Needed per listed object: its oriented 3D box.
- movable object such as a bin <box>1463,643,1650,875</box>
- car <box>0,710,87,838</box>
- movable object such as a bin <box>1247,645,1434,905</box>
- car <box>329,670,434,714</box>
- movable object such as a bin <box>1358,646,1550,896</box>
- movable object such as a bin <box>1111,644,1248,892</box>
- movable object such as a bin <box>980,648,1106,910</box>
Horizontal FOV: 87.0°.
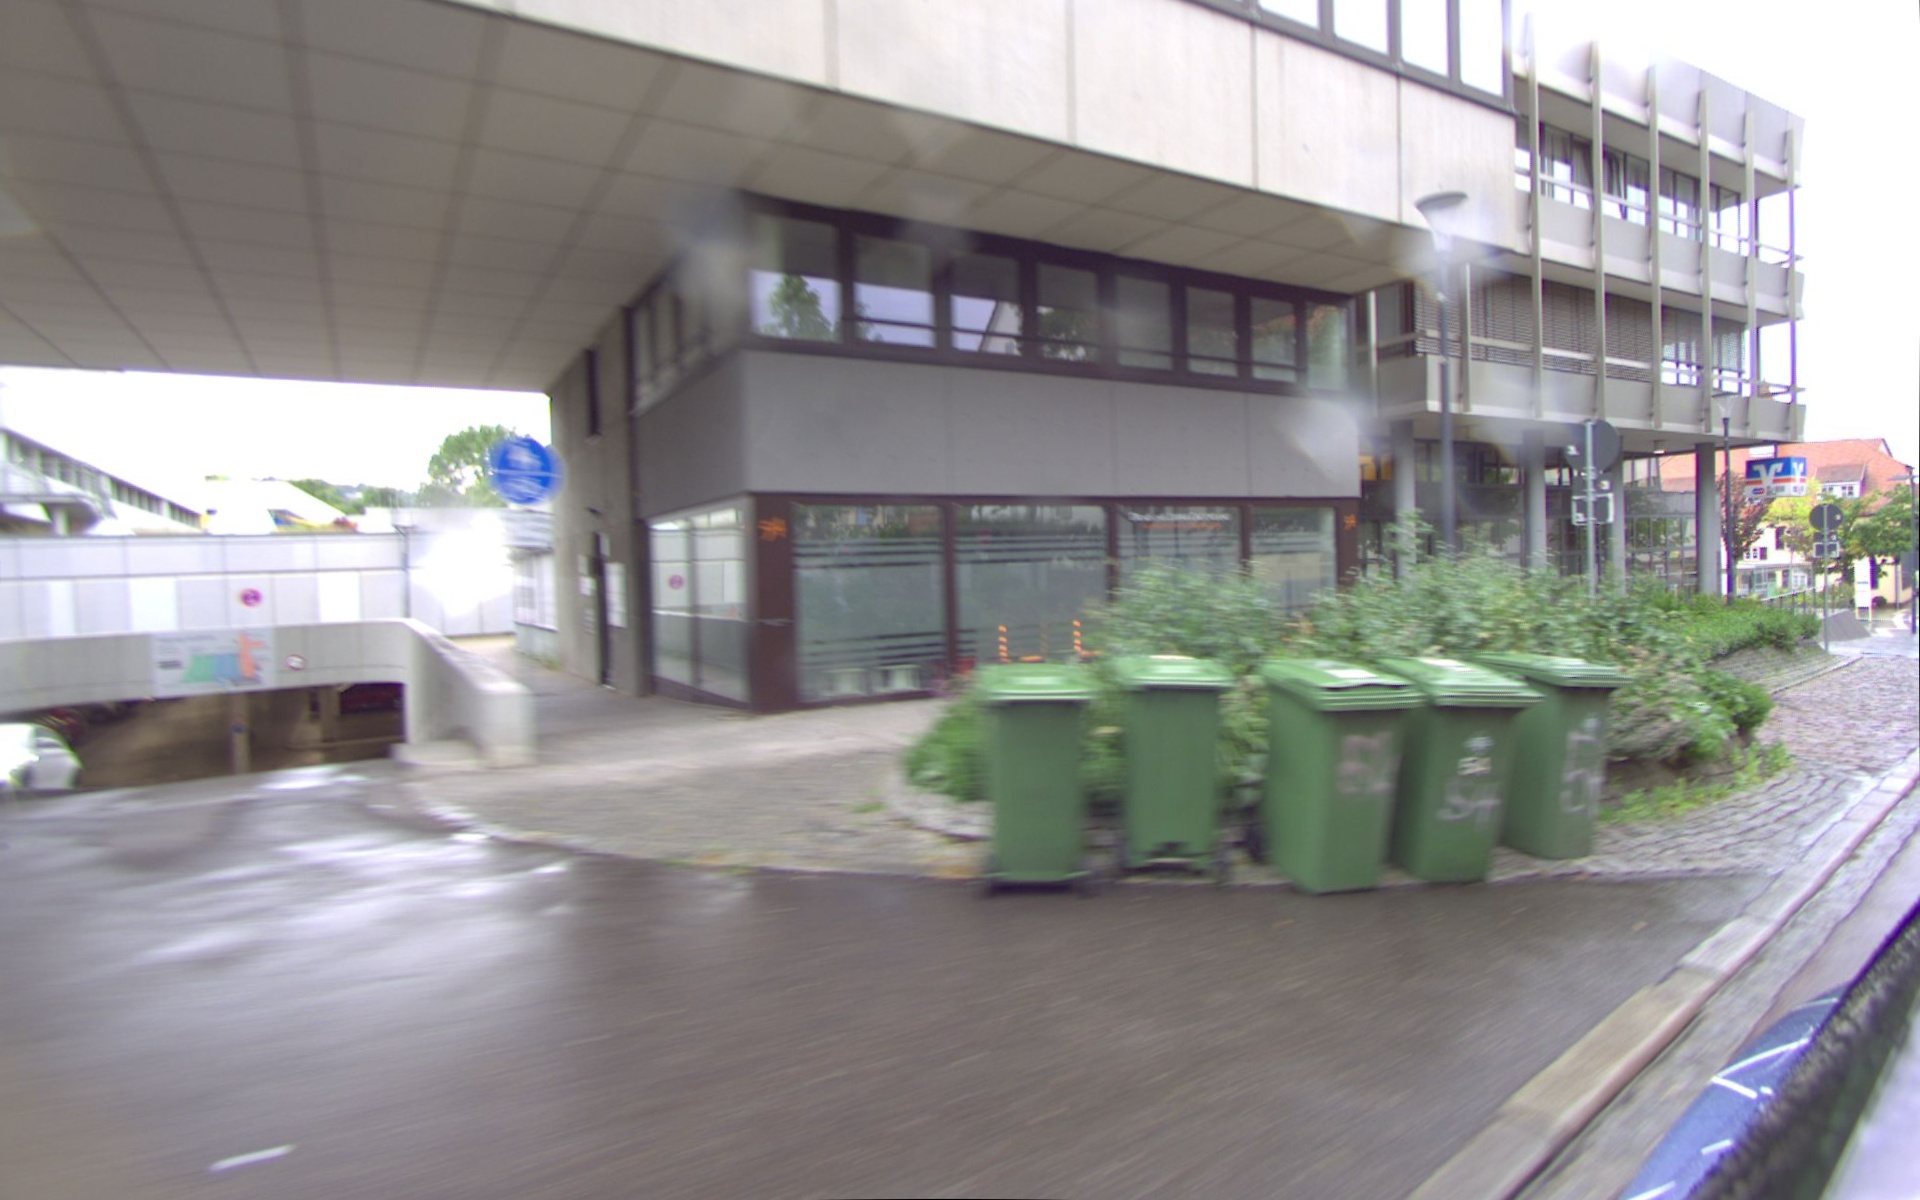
[{"bbox_3d":[3.327,0.841,5.674,0.559,1.138,0.707,-1,1,-24],"label":"movable object such as a bin"},{"bbox_3d":[-15.138,2.660,15.638,1.709,1.460,4.003,-2,0,-30],"label":"car"},{"bbox_3d":[1.867,0.818,5.027,0.559,1.124,0.707,-1,1,-15],"label":"movable object such as a bin"},{"bbox_3d":[-25.391,4.005,44.536,3.920,1.421,1.622,-3,2,-29],"label":"car"},{"bbox_3d":[2.505,0.826,5.186,0.559,1.121,0.707,-1,1,-13],"label":"movable object such as a bin"},{"bbox_3d":[1.083,0.803,5.109,0.561,1.116,0.705,0,1,3],"label":"movable object such as a bin"},{"bbox_3d":[0.385,0.817,4.871,0.561,1.116,0.705,0,1,3],"label":"movable object such as a bin"}]
